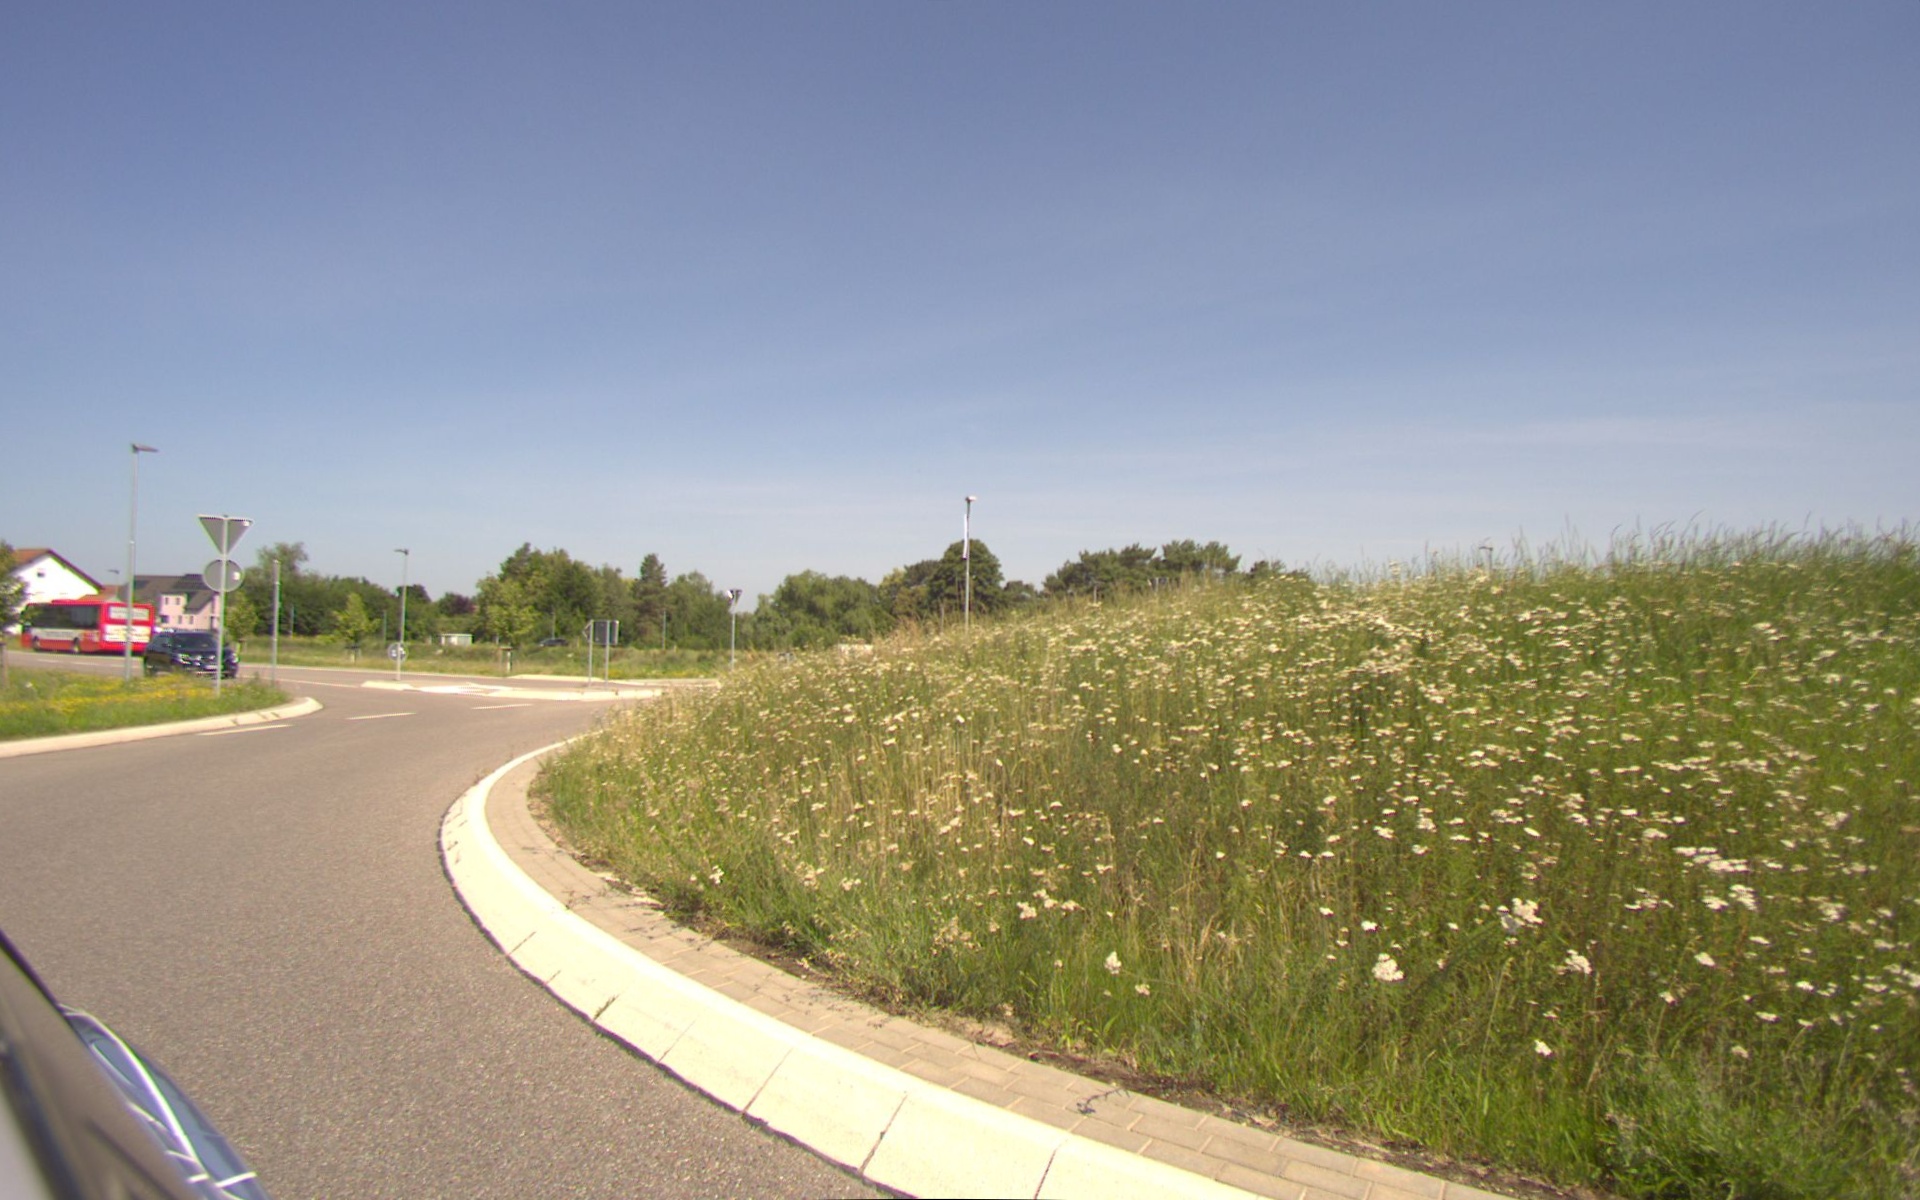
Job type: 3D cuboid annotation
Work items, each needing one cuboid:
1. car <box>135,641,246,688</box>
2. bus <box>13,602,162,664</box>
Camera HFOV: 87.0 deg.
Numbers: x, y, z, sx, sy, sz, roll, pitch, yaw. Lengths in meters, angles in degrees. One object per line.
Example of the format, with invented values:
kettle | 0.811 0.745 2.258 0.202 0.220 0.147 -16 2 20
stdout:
car | -27.631 2.288 36.302 3.988 1.573 1.913 -2 -4 33
bus | -51.602 1.947 59.698 12.183 3.312 2.774 -1 -5 31
